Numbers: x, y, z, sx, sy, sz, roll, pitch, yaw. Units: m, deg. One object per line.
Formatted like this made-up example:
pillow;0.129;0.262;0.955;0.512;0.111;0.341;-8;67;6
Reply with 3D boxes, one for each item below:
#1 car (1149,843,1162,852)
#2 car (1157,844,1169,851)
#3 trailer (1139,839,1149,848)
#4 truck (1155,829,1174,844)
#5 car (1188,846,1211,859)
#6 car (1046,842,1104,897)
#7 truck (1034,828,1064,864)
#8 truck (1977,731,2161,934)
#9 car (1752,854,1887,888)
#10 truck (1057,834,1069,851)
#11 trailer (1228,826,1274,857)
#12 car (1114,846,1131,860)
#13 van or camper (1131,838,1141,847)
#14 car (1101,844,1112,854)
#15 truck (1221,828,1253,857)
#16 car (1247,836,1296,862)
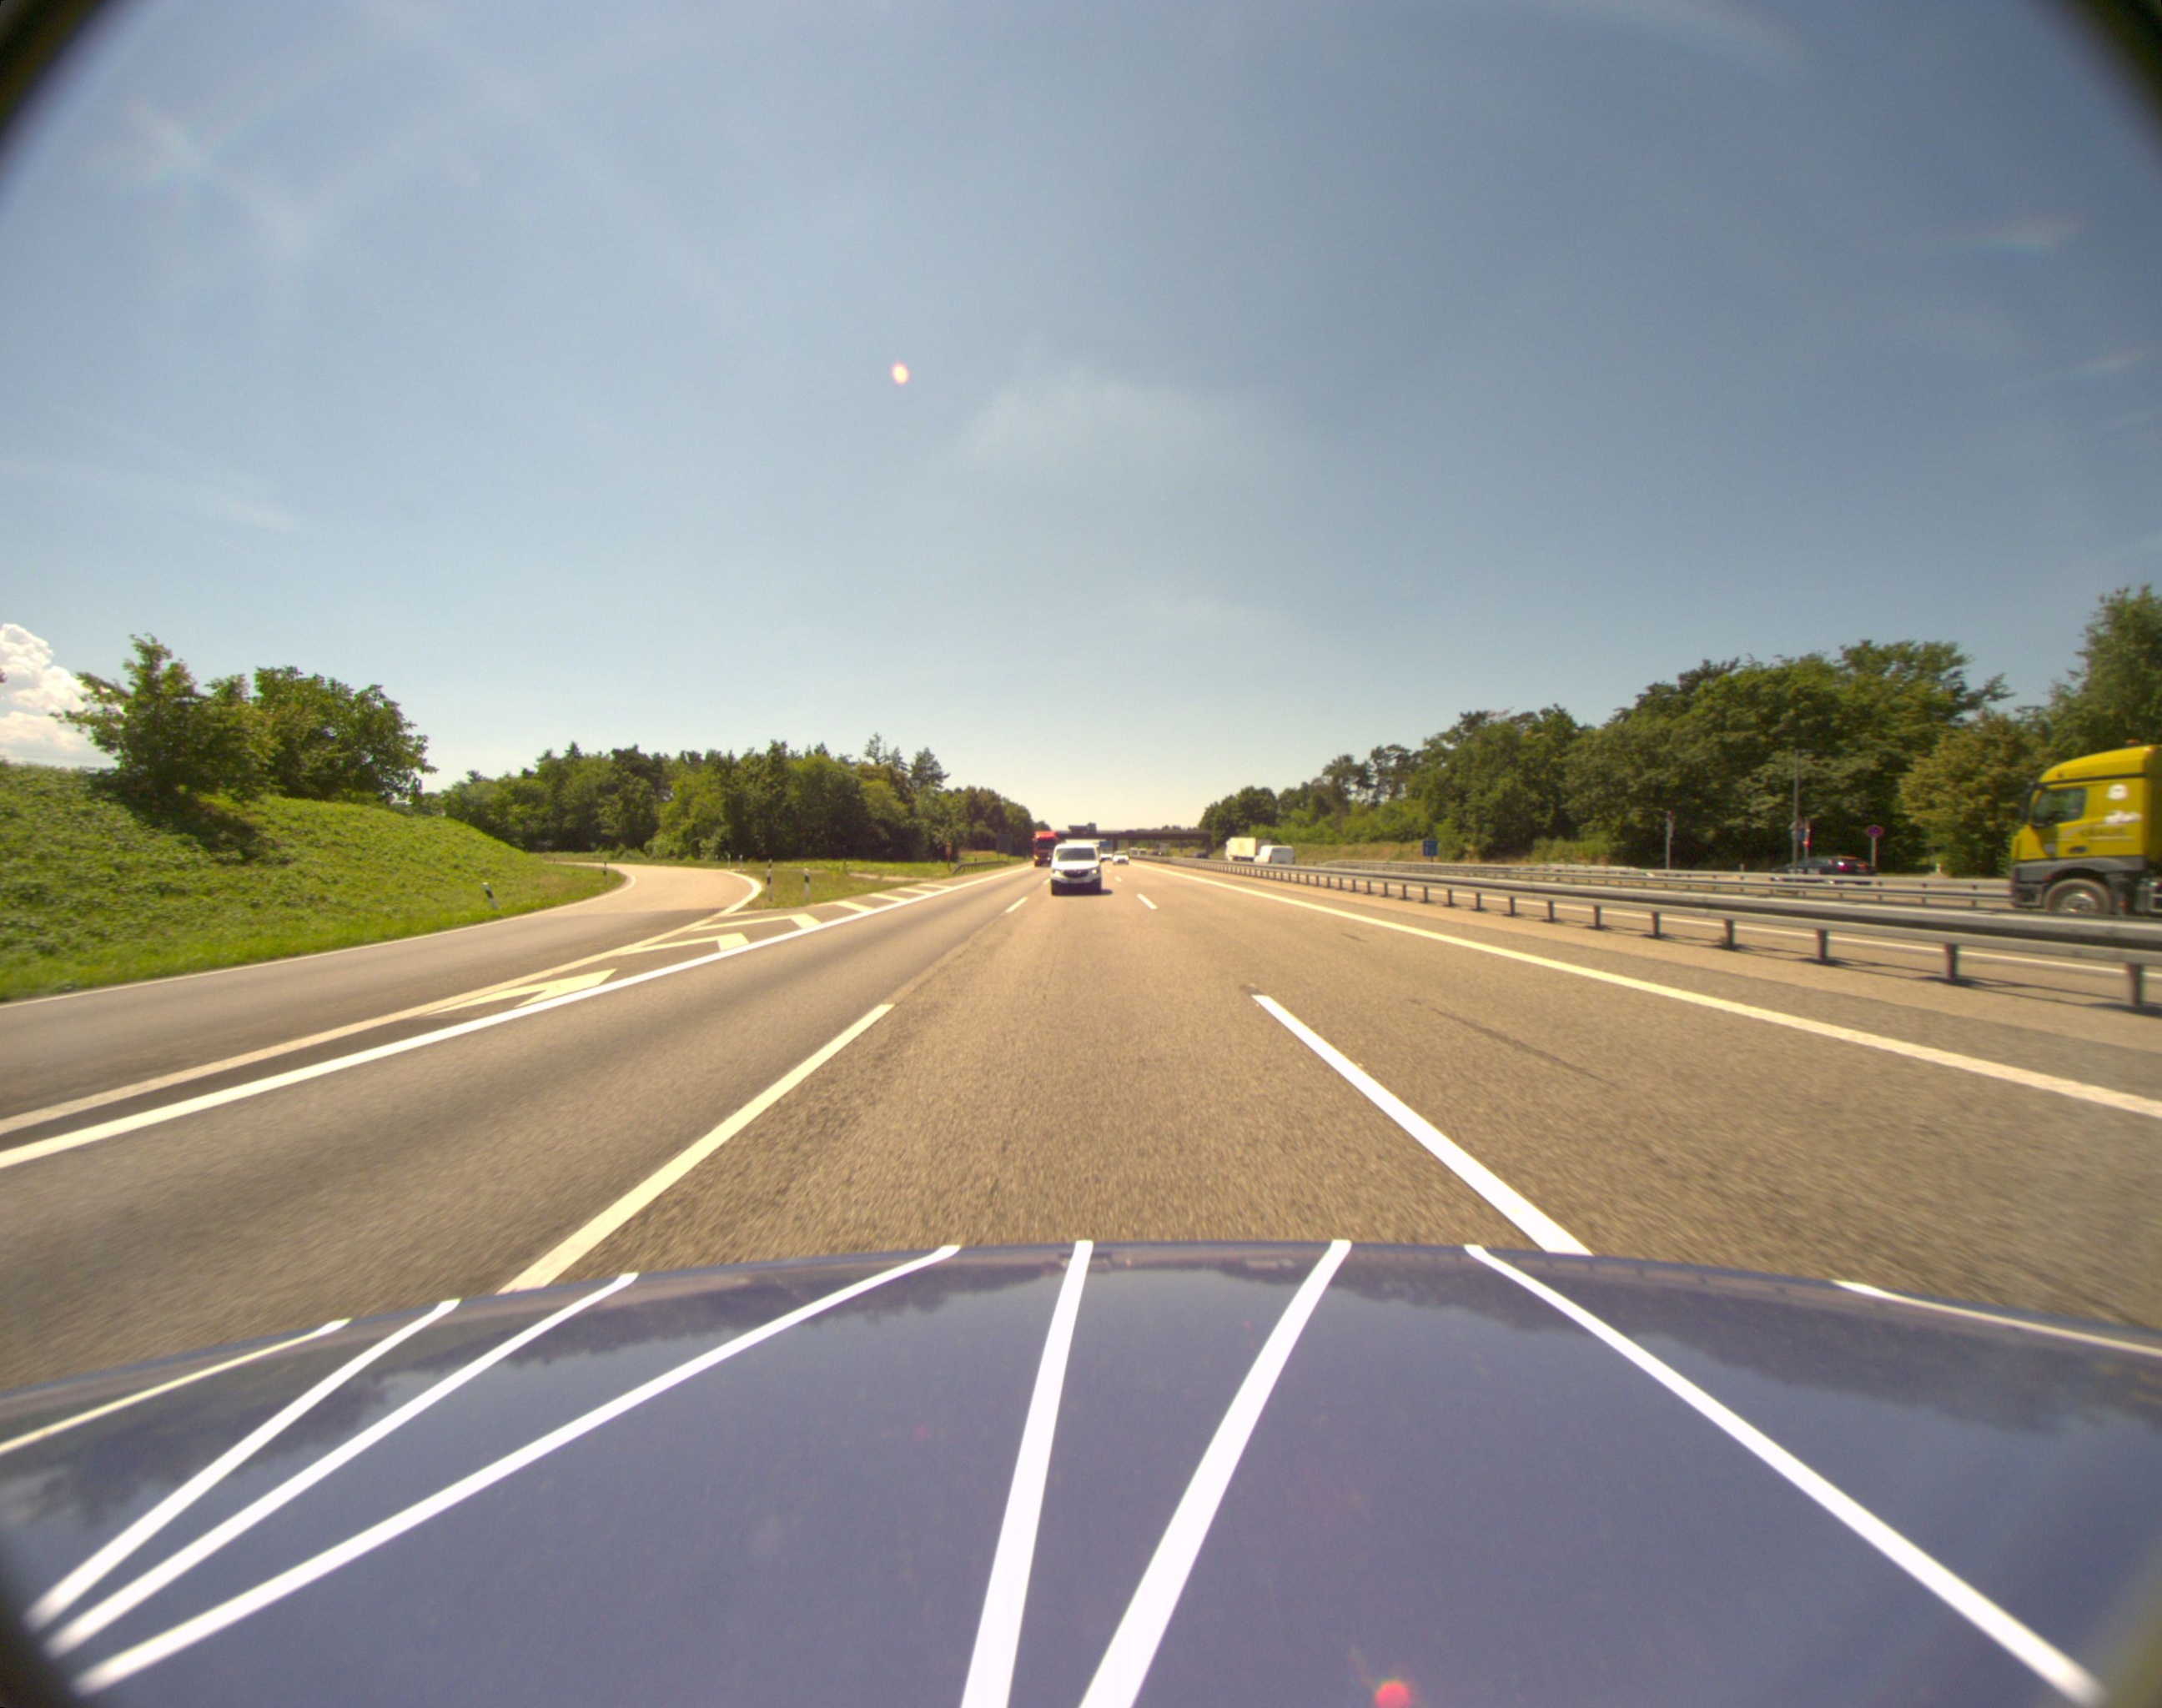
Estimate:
car;14.734;-1.298;150.364;2.057;1.542;4.890;2;0;0
car;18.710;-1.495;173.502;2.233;1.372;4.890;2;0;0
trailer;18.628;-3.105;224.884;2.483;2.732;5.074;2;0;0
truck;22.464;-4.606;205.938;3.334;3.973;16.864;0;1;1
car;14.574;-0.221;93.673;2.057;1.542;4.890;2;0;0
car;-0.118;0.517;28.321;1.870;1.807;4.941;-2;0;2
truck;-3.575;-0.848;87.158;2.688;3.776;12.477;-2;0;0
truck;21.738;-0.367;10.349;3.179;3.788;13.529;0;1;1
car;37.445;0.825;38.735;2.057;1.542;4.890;2;0;0
truck;-4.029;-2.605;174.373;2.535;3.712;6.098;-2;0;0
trailer;27.950;-1.986;125.978;3.080;4.799;13.756;2;0;-6
car;4.490;-0.081;82.200;1.581;1.411;3.353;-2;-1;0
van or camper;18.878;-3.952;262.582;2.509;2.794;8.558;0;1;-2
car;4.110;-0.839;120.894;1.581;1.411;3.353;-2;-1;0
truck;27.229;-2.003;132.792;3.080;4.799;7.710;2;0;-6
car;13.820;-0.376;55.403;2.057;1.832;5.942;0;1;0
